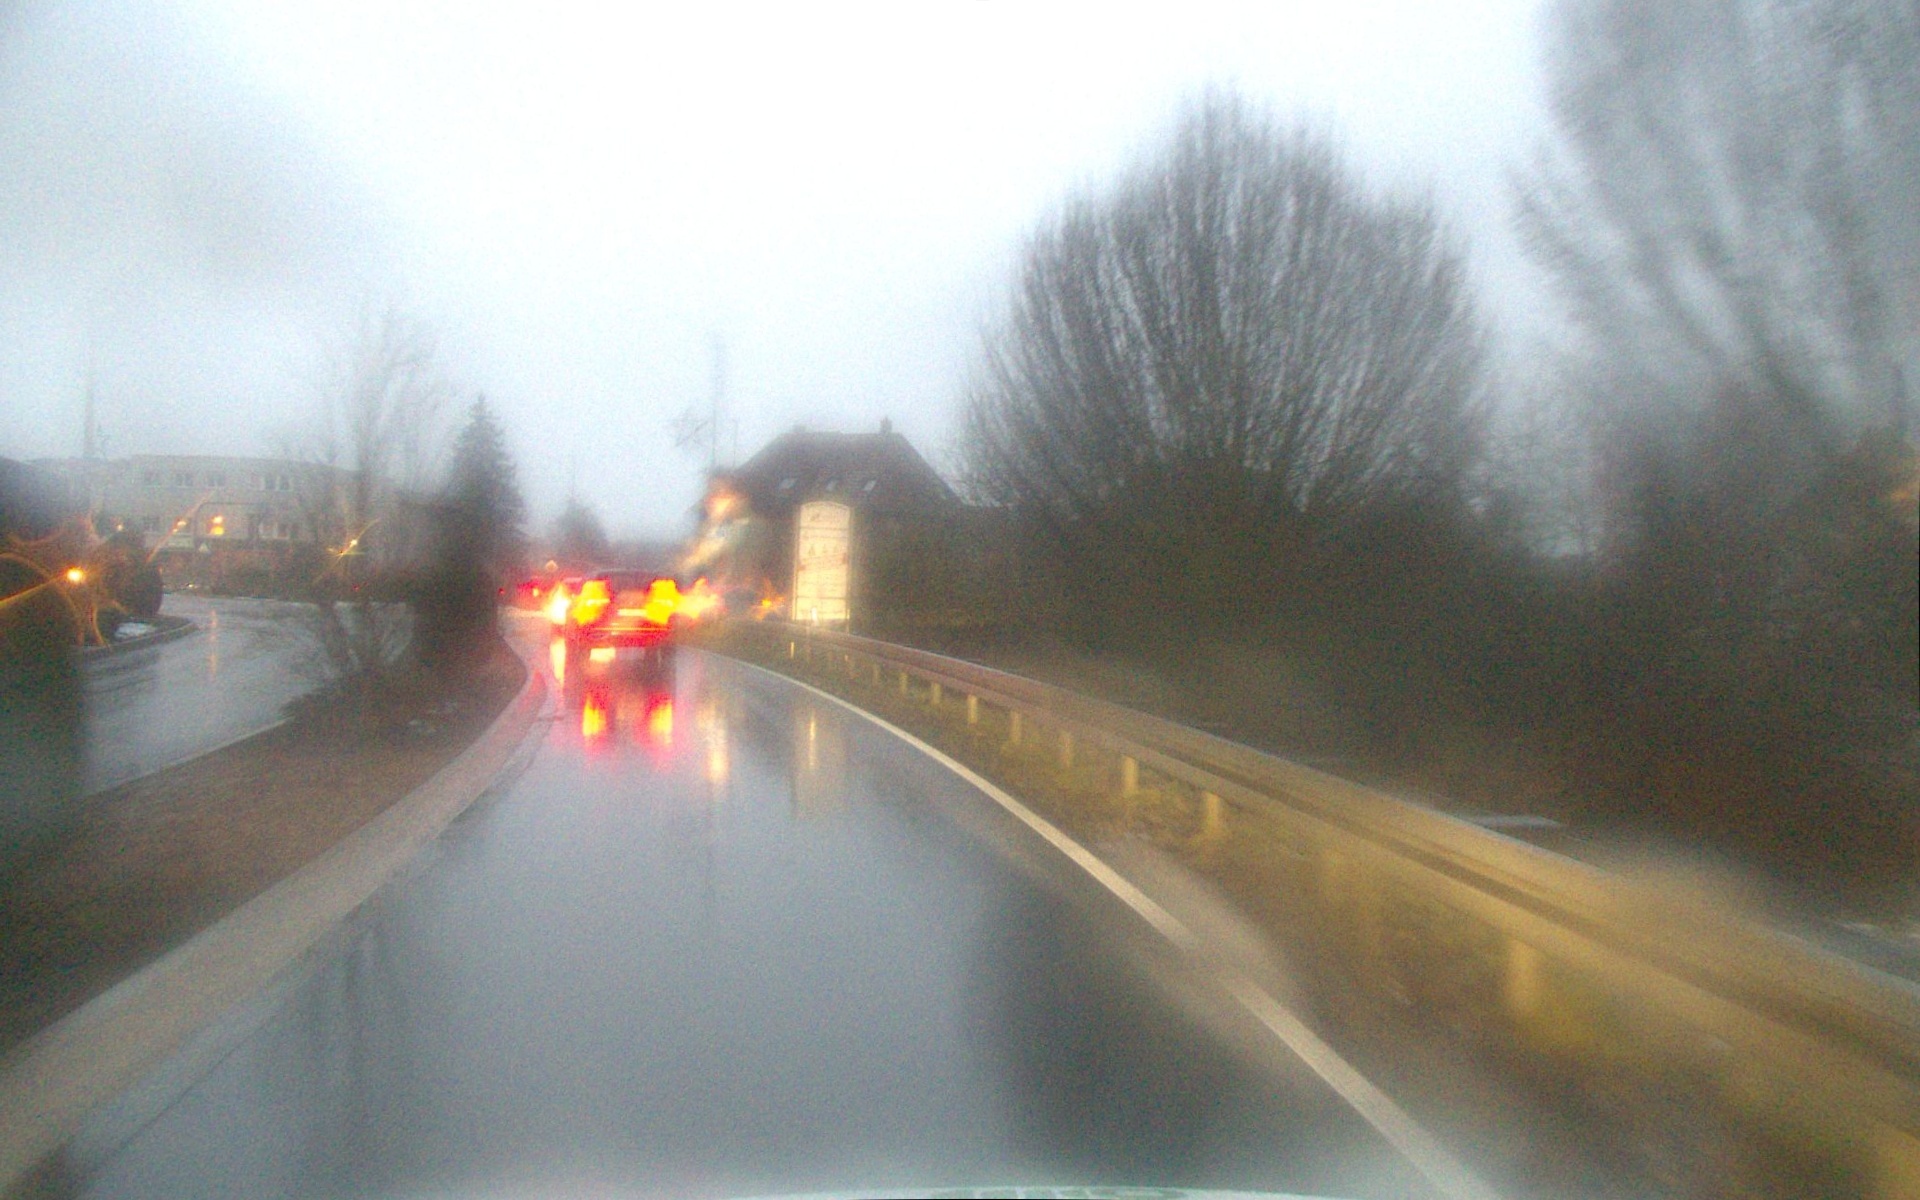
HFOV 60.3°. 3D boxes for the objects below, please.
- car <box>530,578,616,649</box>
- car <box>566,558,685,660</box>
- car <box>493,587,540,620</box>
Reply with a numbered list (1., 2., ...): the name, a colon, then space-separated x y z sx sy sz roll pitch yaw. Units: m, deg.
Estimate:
1. car: -10.667 0.323 45.356 2.127 1.719 4.554 2 1 -15
2. car: -6.433 0.149 31.504 1.912 1.748 3.984 2 0 -15
3. car: -22.164 0.164 82.584 1.749 1.571 3.971 1 -1 -23
